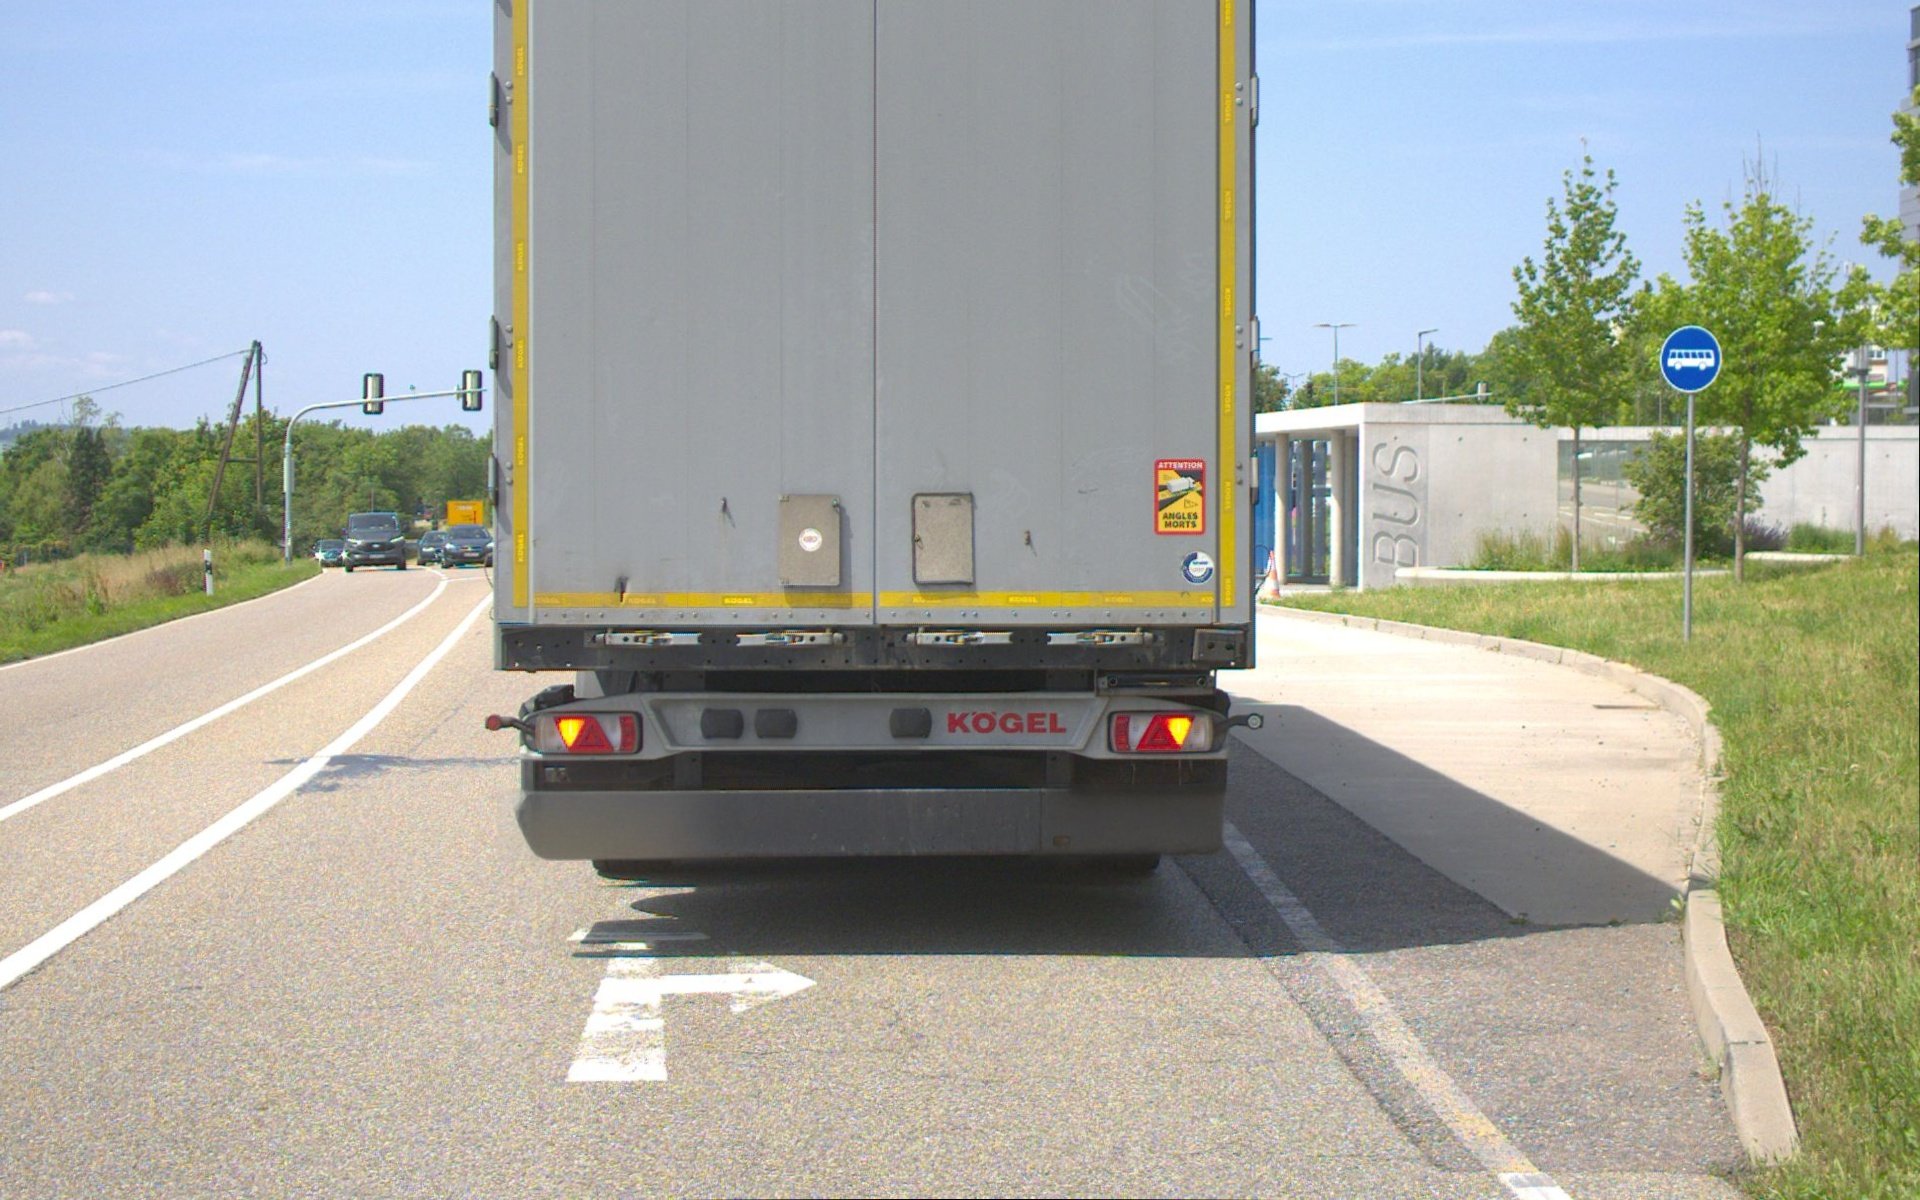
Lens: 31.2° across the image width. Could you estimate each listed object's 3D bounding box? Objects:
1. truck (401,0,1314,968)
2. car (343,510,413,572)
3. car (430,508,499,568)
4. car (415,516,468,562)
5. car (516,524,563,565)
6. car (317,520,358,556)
[{"bbox_3d":[-0.500,-1.138,15.479,2.907,4.394,8.861,1,2,-2],"label":"truck"},{"bbox_3d":[-19.572,-2.005,115.750,1.993,1.971,5.280,-2,2,-7],"label":"car"},{"bbox_3d":[-16.720,-2.110,116.262,1.993,1.943,4.504,-2,2,-5],"label":"car"},{"bbox_3d":[-22.080,-2.610,146.493,1.993,1.809,4.297,-2,2,-6],"label":"car"},{"bbox_3d":[-22.170,-2.932,181.320,2.171,2.006,4.527,-2,2,-5],"label":"car"},{"bbox_3d":[-32.942,-3.282,181.876,1.993,1.781,4.001,-2,1,-9],"label":"car"}]
